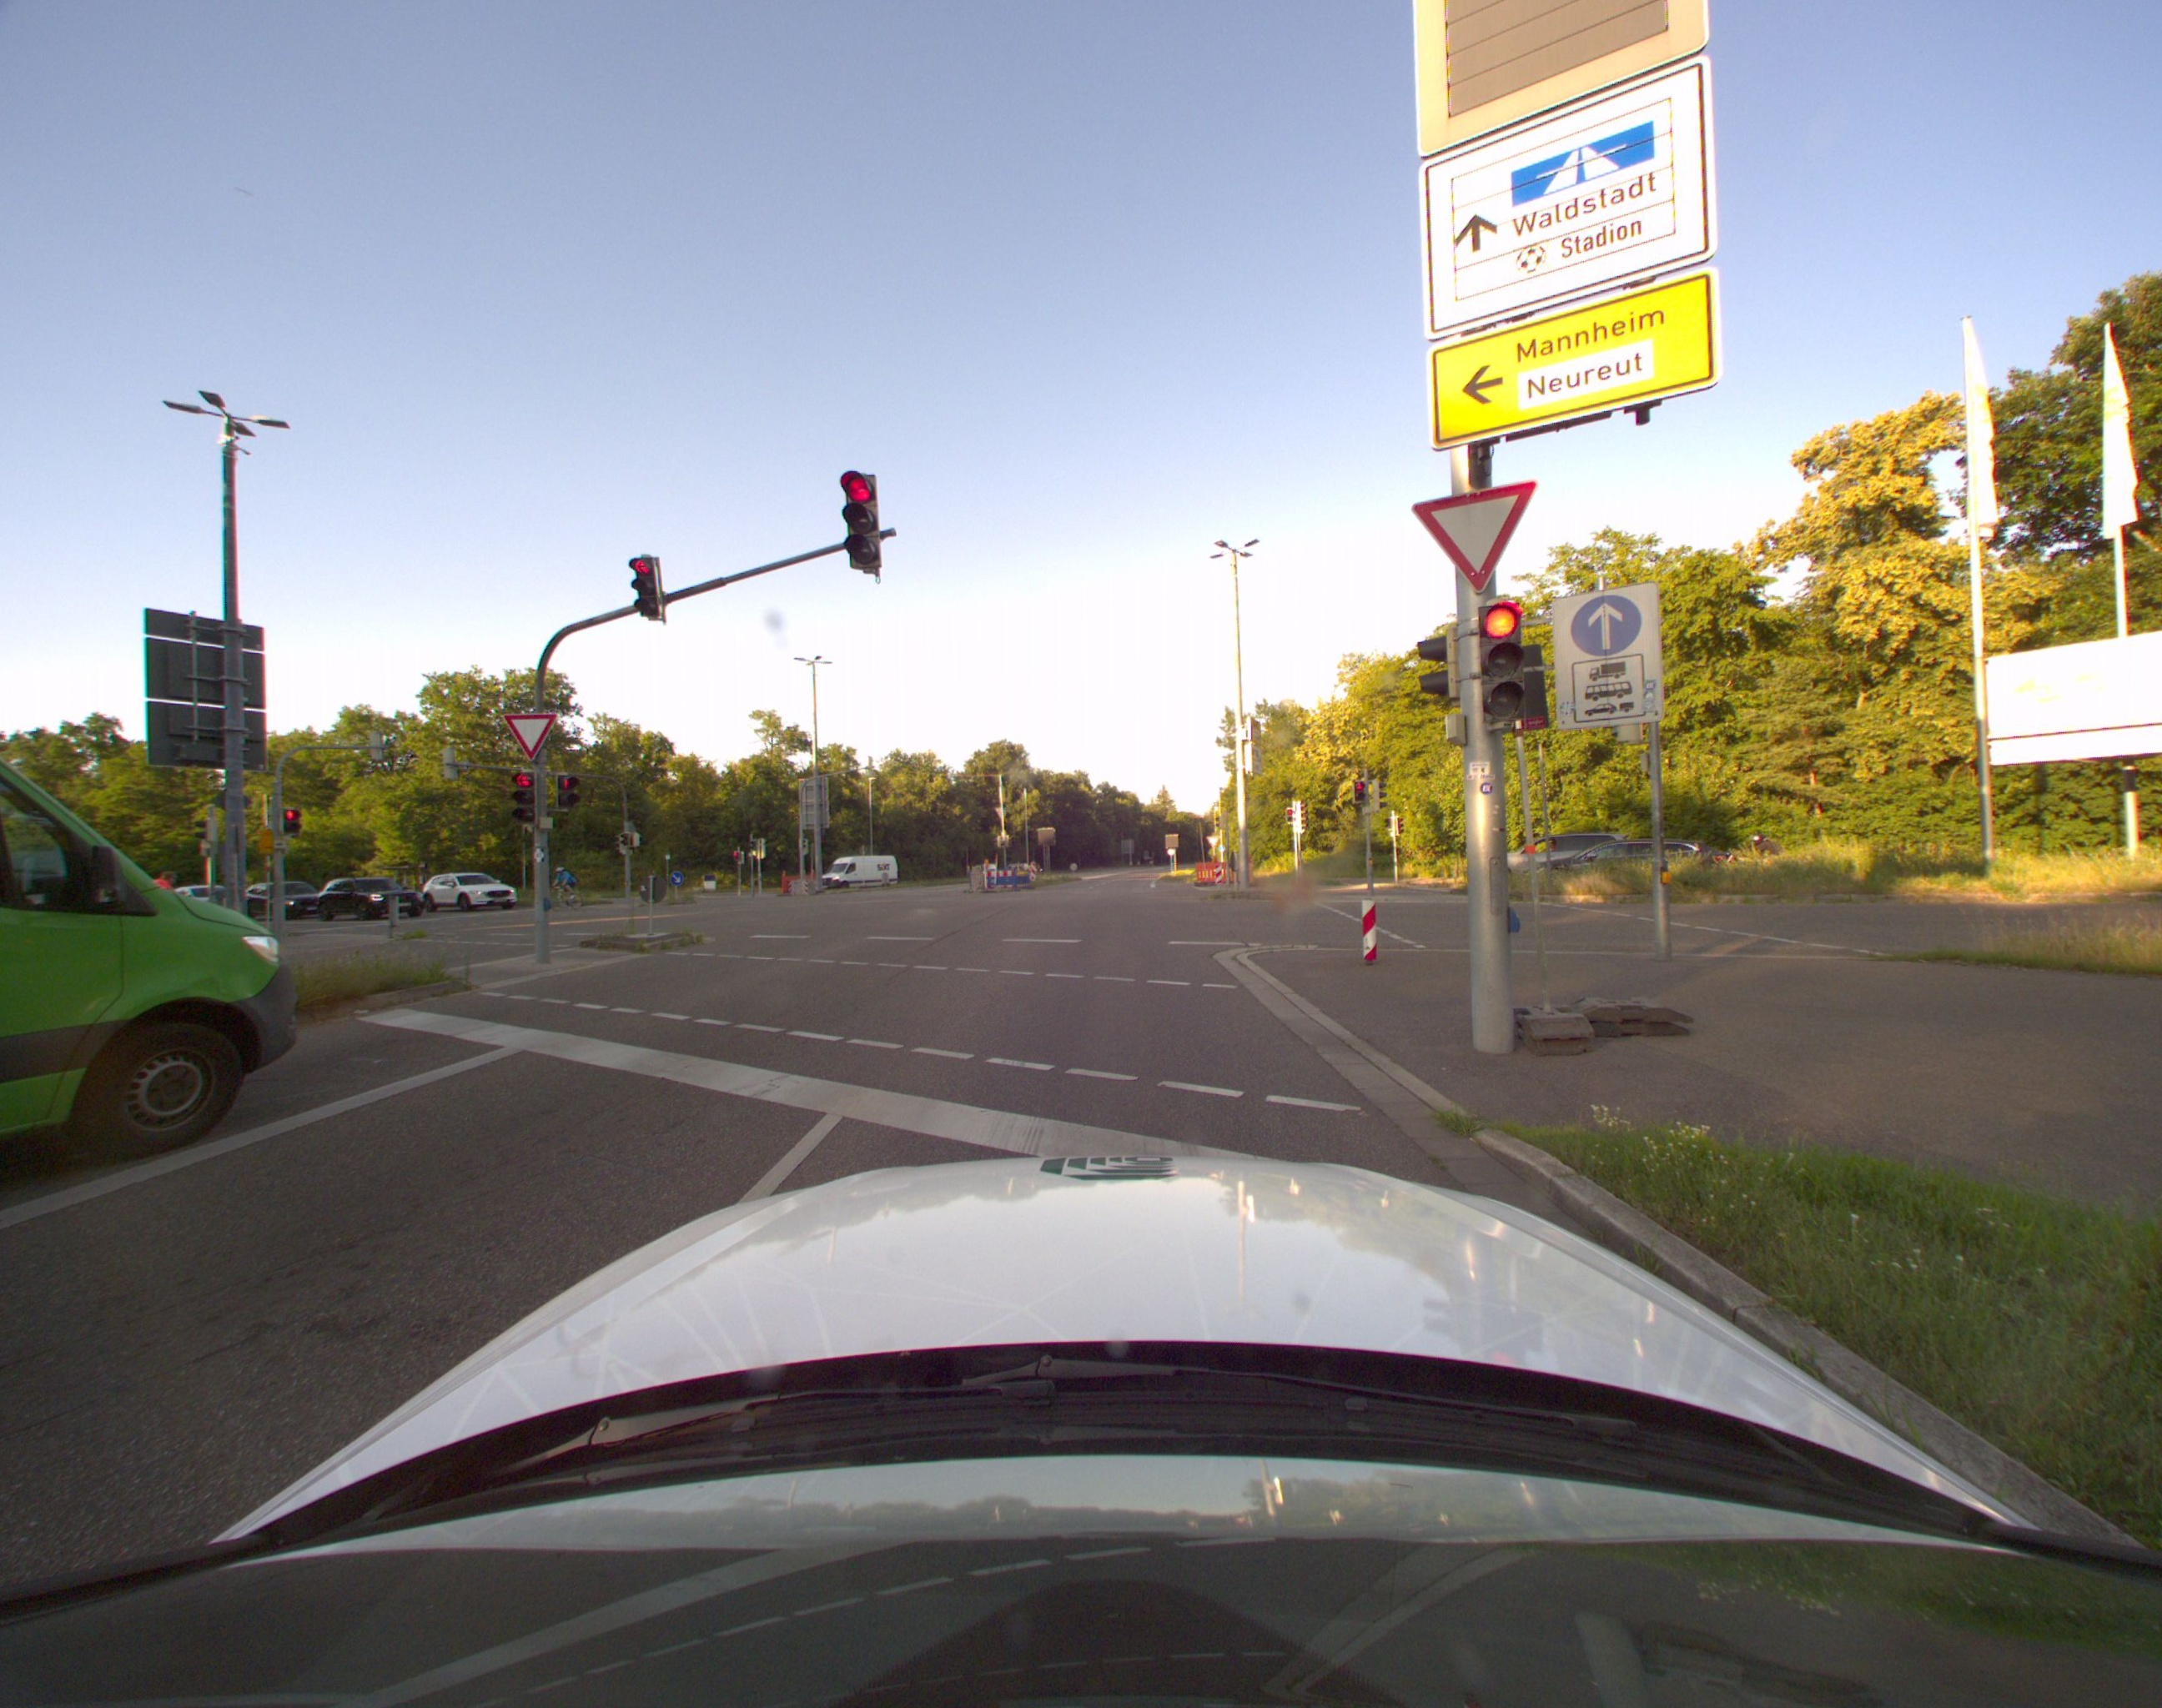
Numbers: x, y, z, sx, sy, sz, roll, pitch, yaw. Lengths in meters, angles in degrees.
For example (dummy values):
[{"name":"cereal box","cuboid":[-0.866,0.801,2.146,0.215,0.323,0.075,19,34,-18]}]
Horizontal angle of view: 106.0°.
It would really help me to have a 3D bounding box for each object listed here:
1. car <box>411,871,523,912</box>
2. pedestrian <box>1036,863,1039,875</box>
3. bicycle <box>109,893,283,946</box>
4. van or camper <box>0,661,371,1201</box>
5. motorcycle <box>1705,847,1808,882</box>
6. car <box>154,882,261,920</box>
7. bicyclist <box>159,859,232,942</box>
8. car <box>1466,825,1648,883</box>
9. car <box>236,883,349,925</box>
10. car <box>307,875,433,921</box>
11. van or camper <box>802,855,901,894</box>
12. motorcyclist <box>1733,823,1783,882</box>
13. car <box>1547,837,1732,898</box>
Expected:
[{"name":"car","cuboid":[-26.757,1.639,35.498,4.206,1.640,2.011,-2,0,23]},{"name":"pedestrian","cuboid":[-7.095,2.455,132.425,0.519,2.014,0.600,0,-1,2]},{"name":"bicycle","cuboid":[-20.740,1.506,19.185,0.759,1.031,2.665,-2,0,29]},{"name":"van or camper","cuboid":[-5.857,0.362,2.560,1.987,2.421,5.896,-2,0,1]},{"name":"motorcycle","cuboid":[19.027,0.303,22.999,2.125,0.910,0.666,-2,0,23]},{"name":"car","cuboid":[-41.255,2.208,38.475,4.207,1.640,2.011,-2,0,21]},{"name":"bicyclist","cuboid":[-20.797,1.076,19.142,0.668,1.879,0.986,-2,-1,27]},{"name":"car","cuboid":[15.032,0.024,26.076,4.773,1.598,2.011,-2,0,23]},{"name":"car","cuboid":[-33.923,2.152,35.034,4.205,1.640,2.011,-2,0,23]},{"name":"car","cuboid":[-27.551,1.696,31.559,4.206,1.640,2.011,-2,0,23]},{"name":"van or camper","cuboid":[-17.196,1.489,61.443,2.857,2.652,7.166,-2,0,29]},{"name":"motorcyclist","cuboid":[19.079,-0.041,22.968,0.878,1.595,0.658,-2,-1,23]},{"name":"car","cuboid":[14.860,0.378,21.924,3.827,1.489,1.781,-2,0,24]}]
